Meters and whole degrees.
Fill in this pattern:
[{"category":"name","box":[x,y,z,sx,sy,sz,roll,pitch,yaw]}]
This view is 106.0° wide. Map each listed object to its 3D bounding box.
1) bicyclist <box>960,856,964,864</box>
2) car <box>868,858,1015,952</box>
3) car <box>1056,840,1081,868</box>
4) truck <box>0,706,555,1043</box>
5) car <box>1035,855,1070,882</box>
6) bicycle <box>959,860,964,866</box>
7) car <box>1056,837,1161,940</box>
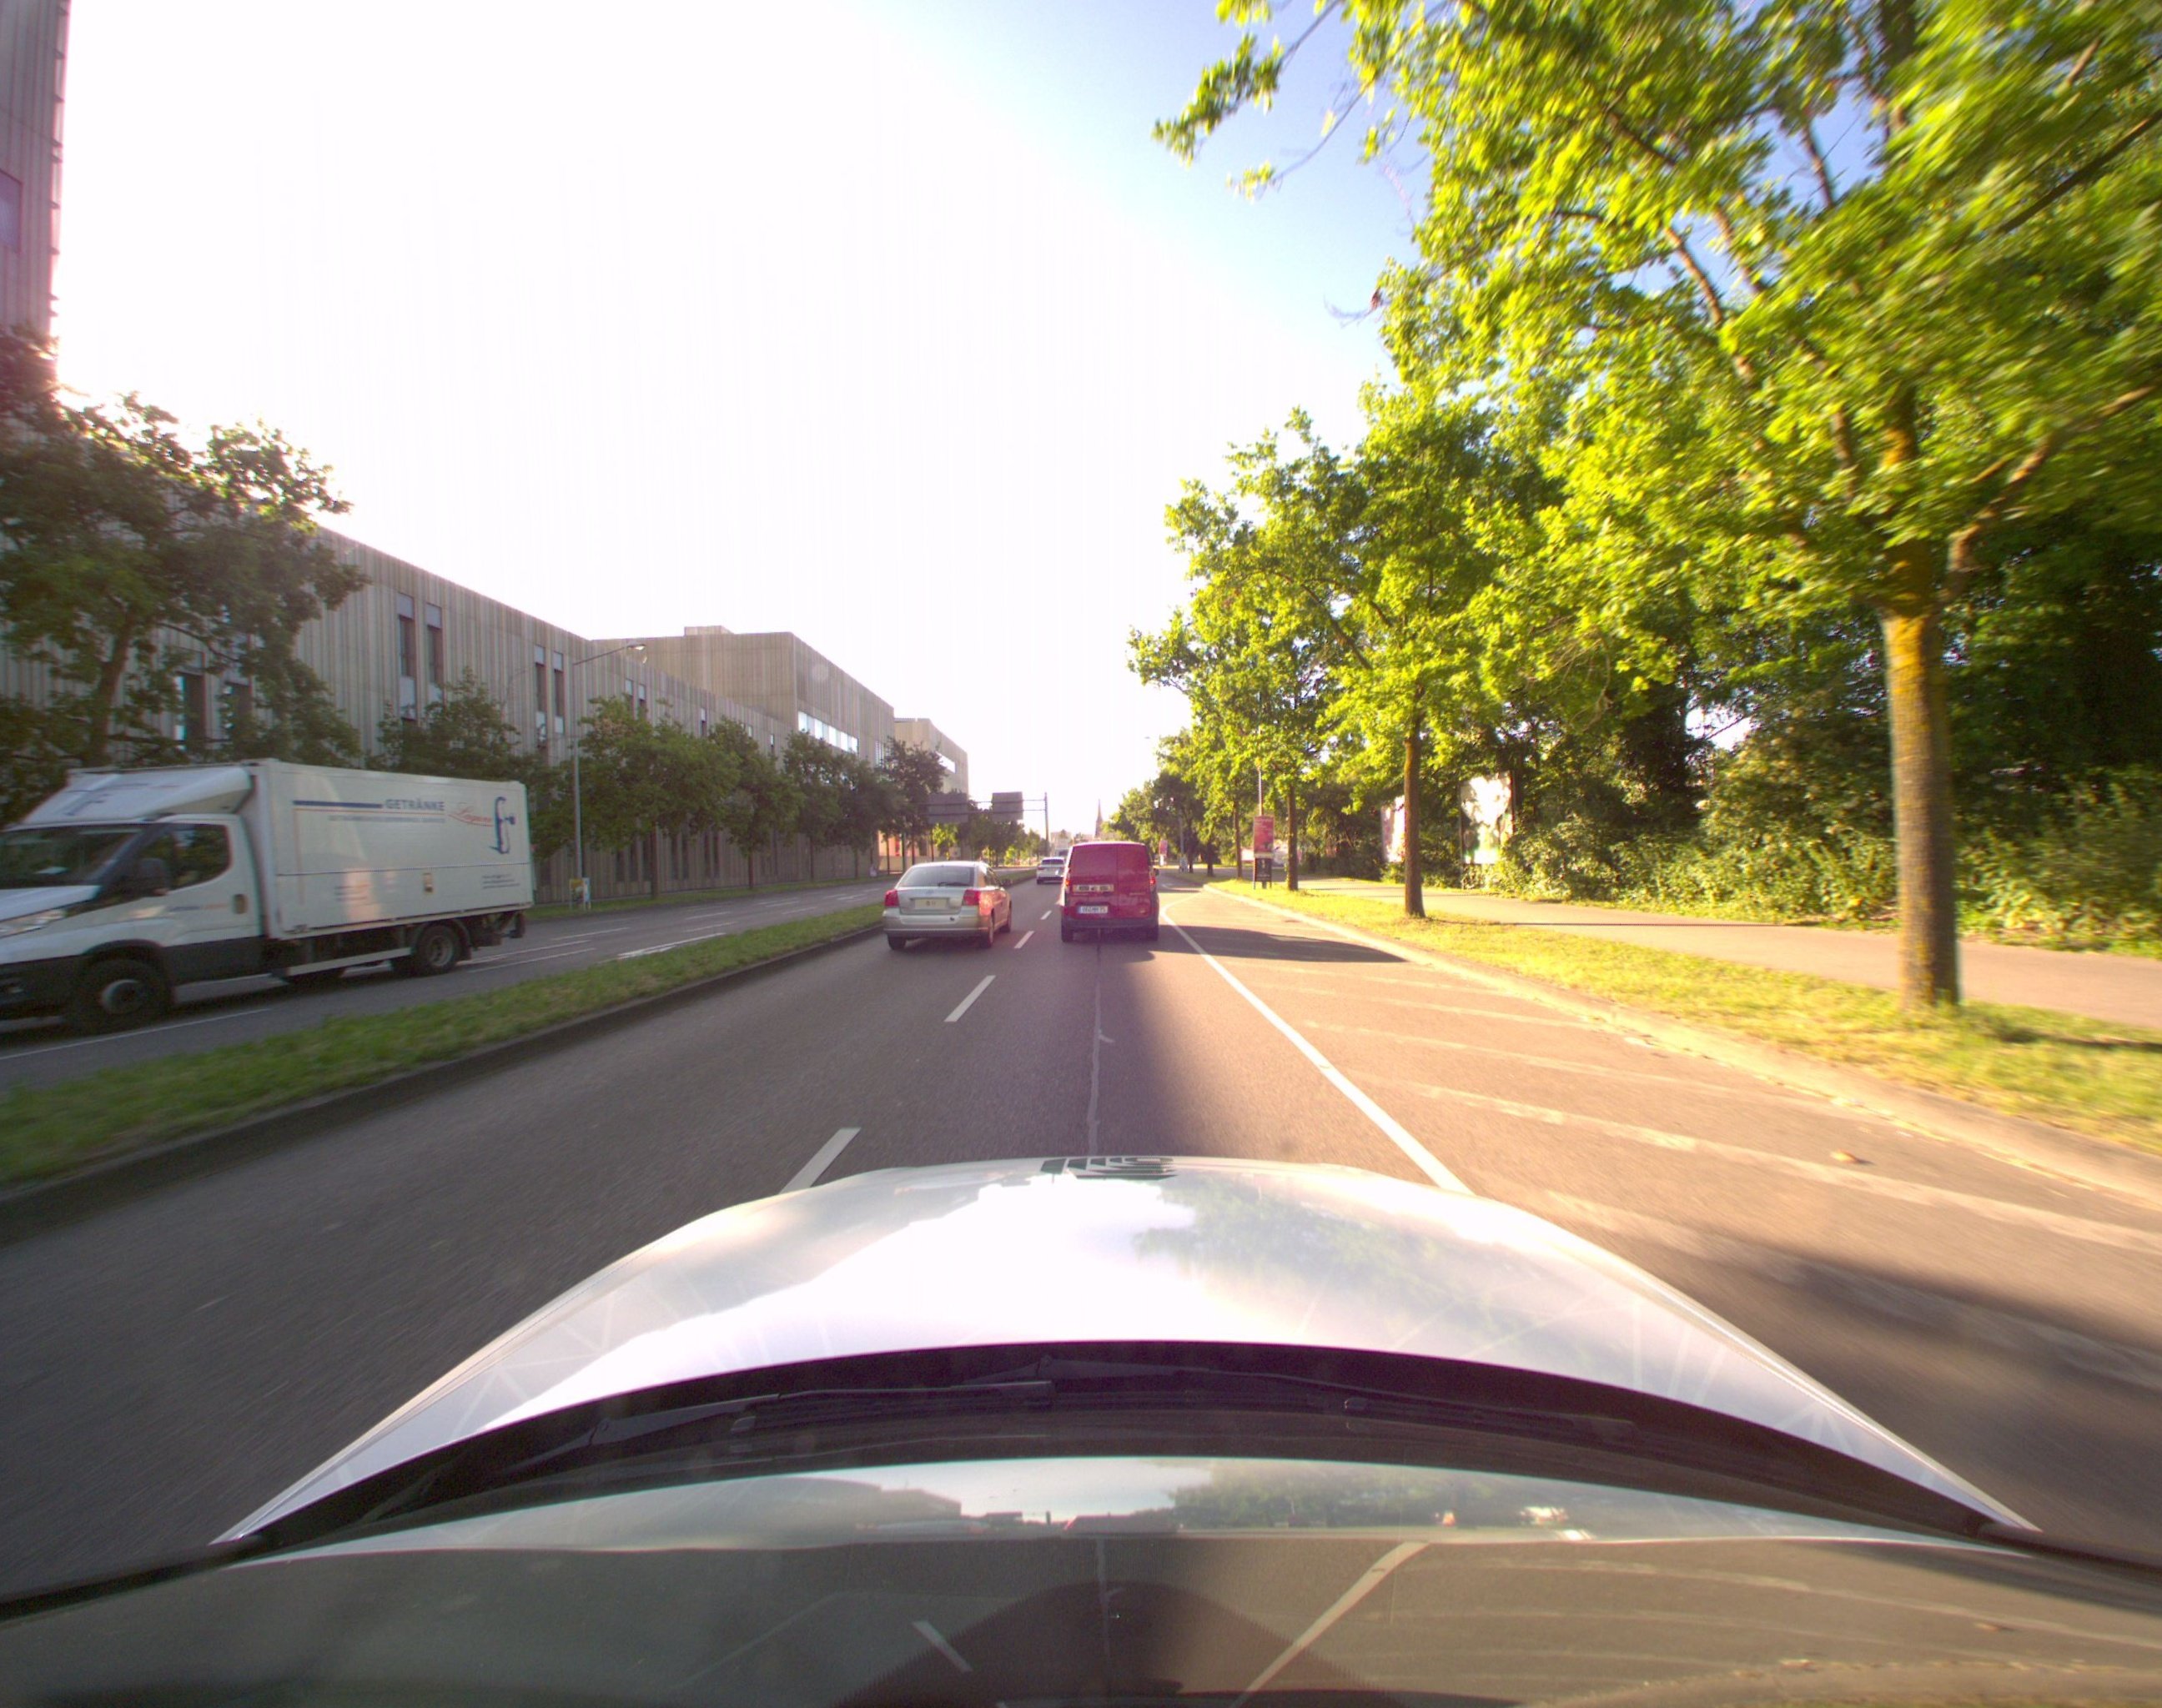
[{"category":"bicyclist","box":[-20.443,1.074,139.477,0.560,1.392,0.747,-2,-1,0]},{"category":"car","box":[-2.350,0.803,14.811,1.834,1.456,4.164,0,0,2]},{"category":"car","box":[-0.874,0.016,58.111,1.655,1.856,3.559,-2,0,1]},{"category":"truck","box":[-10.698,0.267,10.630,2.676,2.961,7.117,-3,0,2]},{"category":"car","box":[-1.490,0.768,44.209,1.655,1.398,3.559,-2,0,1]},{"category":"bicycle","box":[-20.426,1.568,139.461,0.568,1.003,2.096,-2,-1,0]},{"category":"car","box":[0.509,0.602,15.969,1.800,1.759,4.006,0,0,1]}]
